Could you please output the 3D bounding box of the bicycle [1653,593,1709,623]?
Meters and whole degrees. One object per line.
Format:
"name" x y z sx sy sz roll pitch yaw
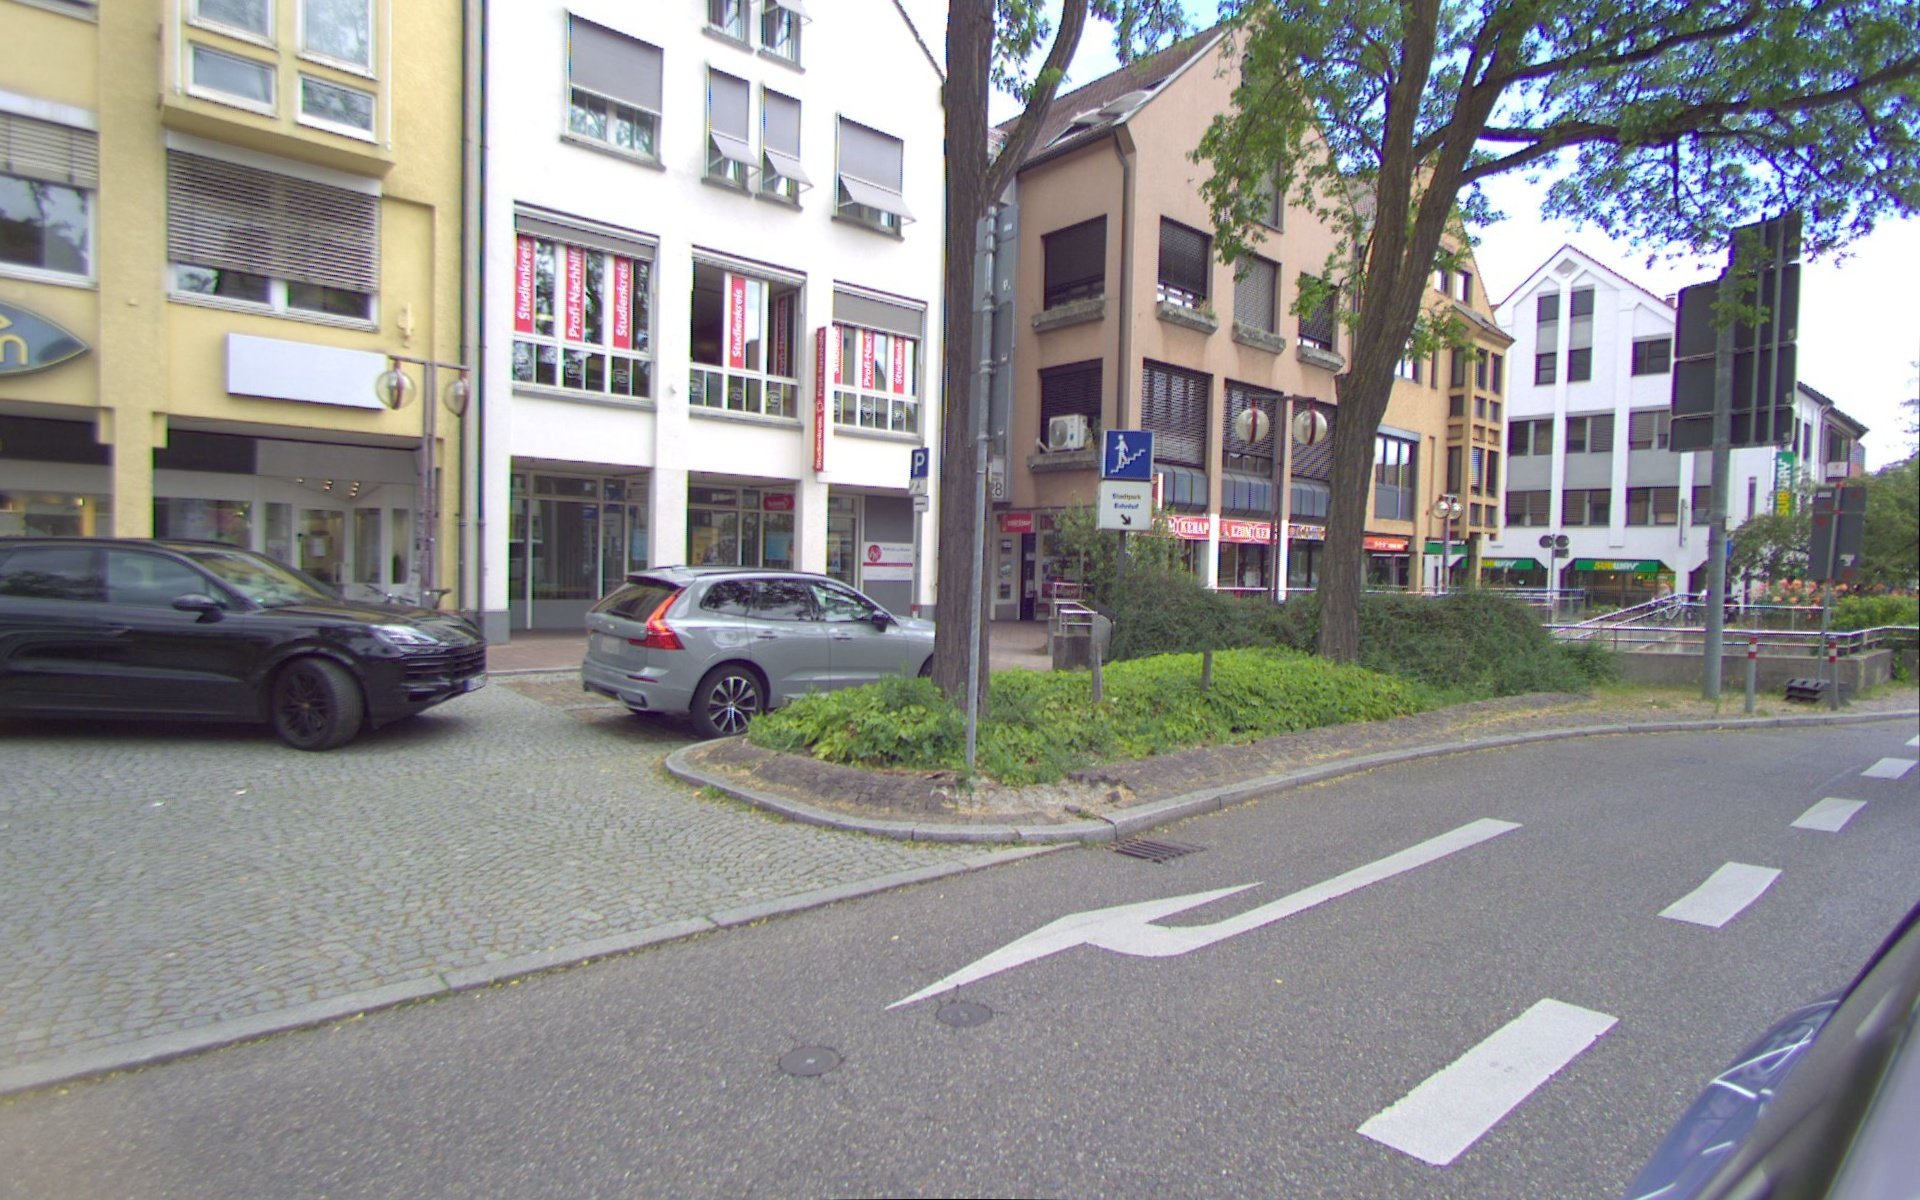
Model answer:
"bicycle" 25.446 0.272 35.729 1.584 0.981 0.455 2 2 36

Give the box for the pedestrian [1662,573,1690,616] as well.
"pedestrian" 29.979 -0.229 42.389 0.882 1.779 0.931 2 1 38

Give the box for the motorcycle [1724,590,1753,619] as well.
"motorcycle" 29.925 0.160 38.899 1.960 1.081 0.464 0 2 -41

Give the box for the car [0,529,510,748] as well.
"car" -6.727 0.283 9.069 4.567 1.690 1.863 2 2 -8

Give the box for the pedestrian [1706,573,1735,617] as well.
"pedestrian" 31.935 -0.217 42.521 0.772 1.846 0.869 0 0 -44

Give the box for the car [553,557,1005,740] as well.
"car" -1.839 0.395 11.371 4.684 1.615 1.996 0 2 -44

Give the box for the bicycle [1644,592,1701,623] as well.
"bicycle" 24.801 0.244 35.243 1.584 1.014 0.409 3 2 37

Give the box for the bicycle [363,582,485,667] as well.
"bicycle" -7.049 0.312 13.336 1.354 1.057 0.393 0 2 -41
